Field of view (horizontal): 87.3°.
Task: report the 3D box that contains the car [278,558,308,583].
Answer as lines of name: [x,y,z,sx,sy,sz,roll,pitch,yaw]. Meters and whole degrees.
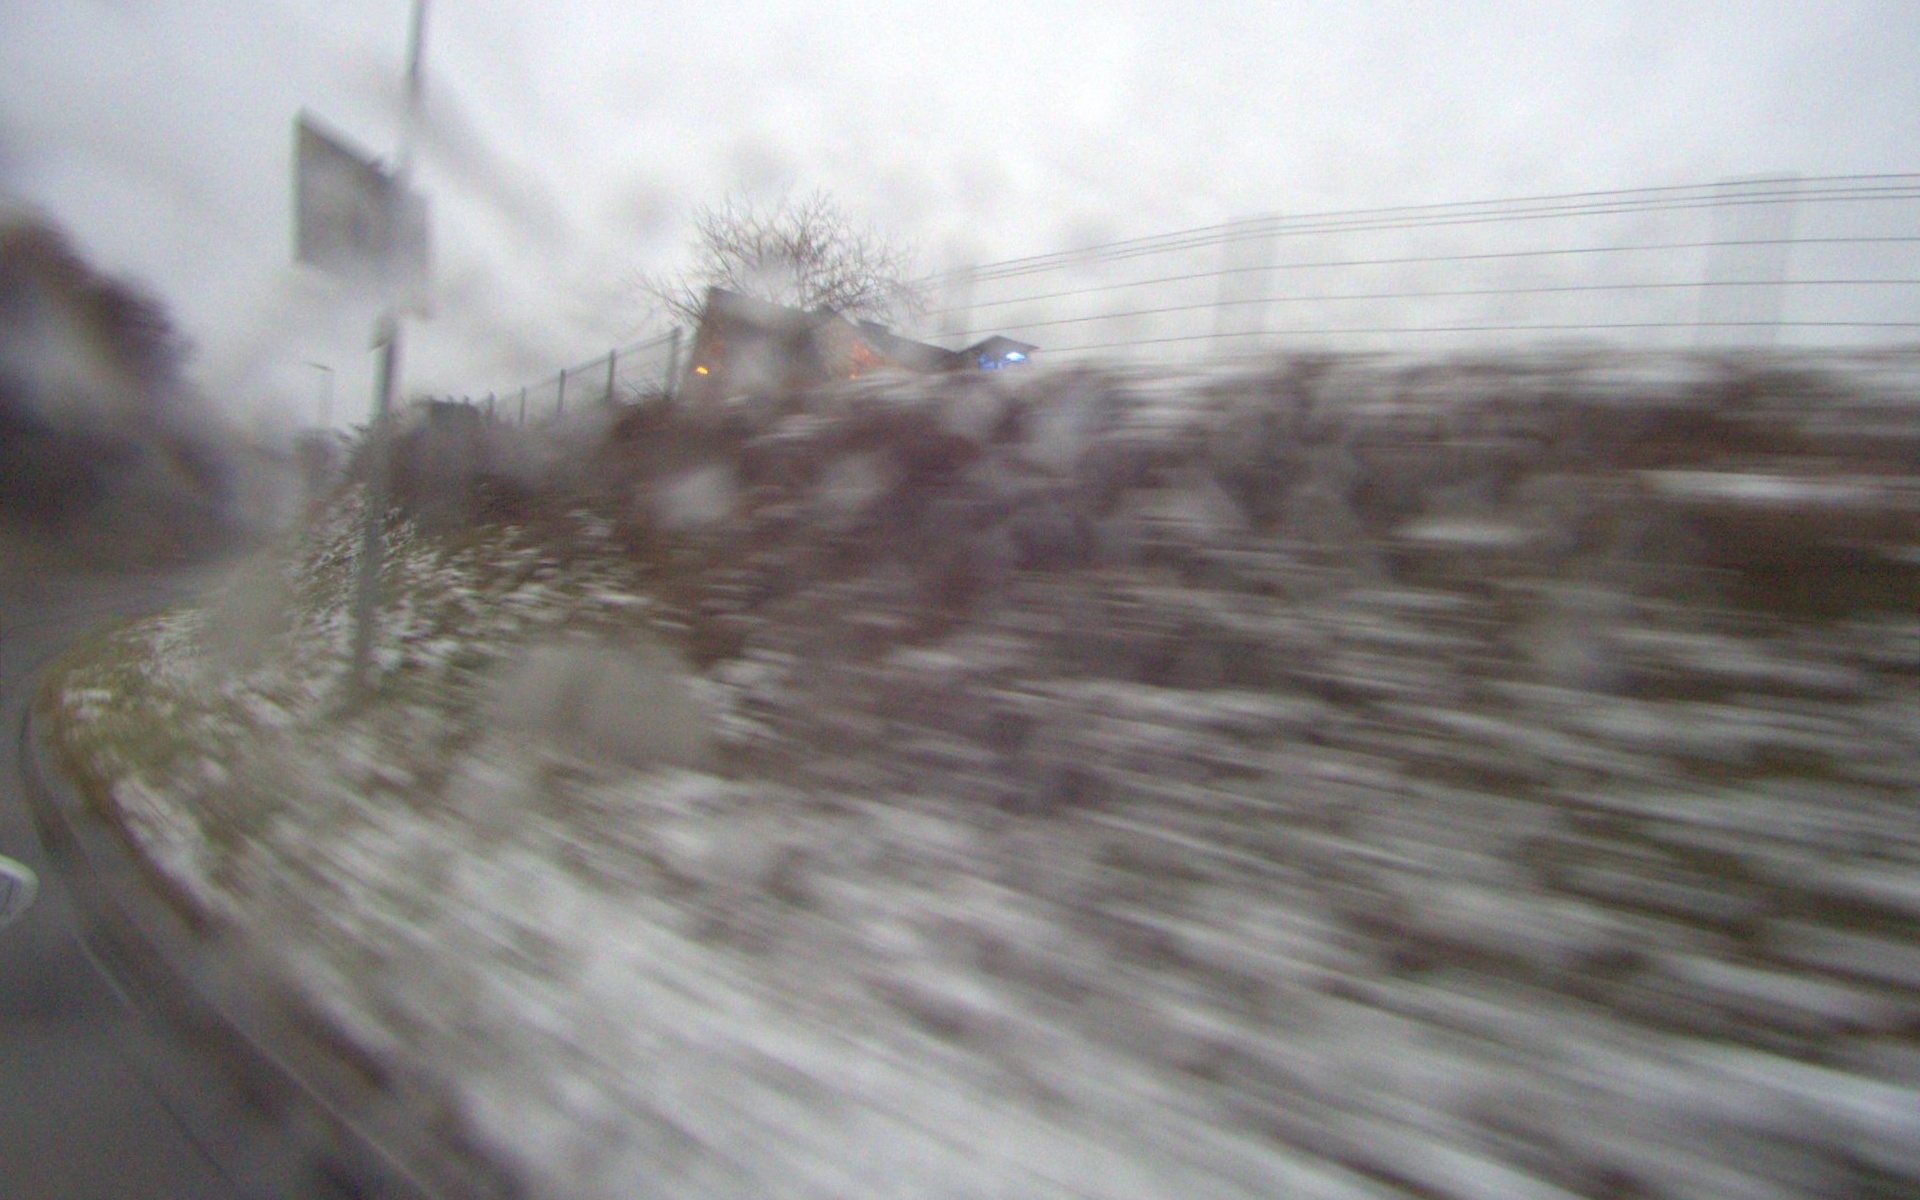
car: [-58.107,-2.570,87.700,1.793,1.756,3.973,9,-5,-30]
